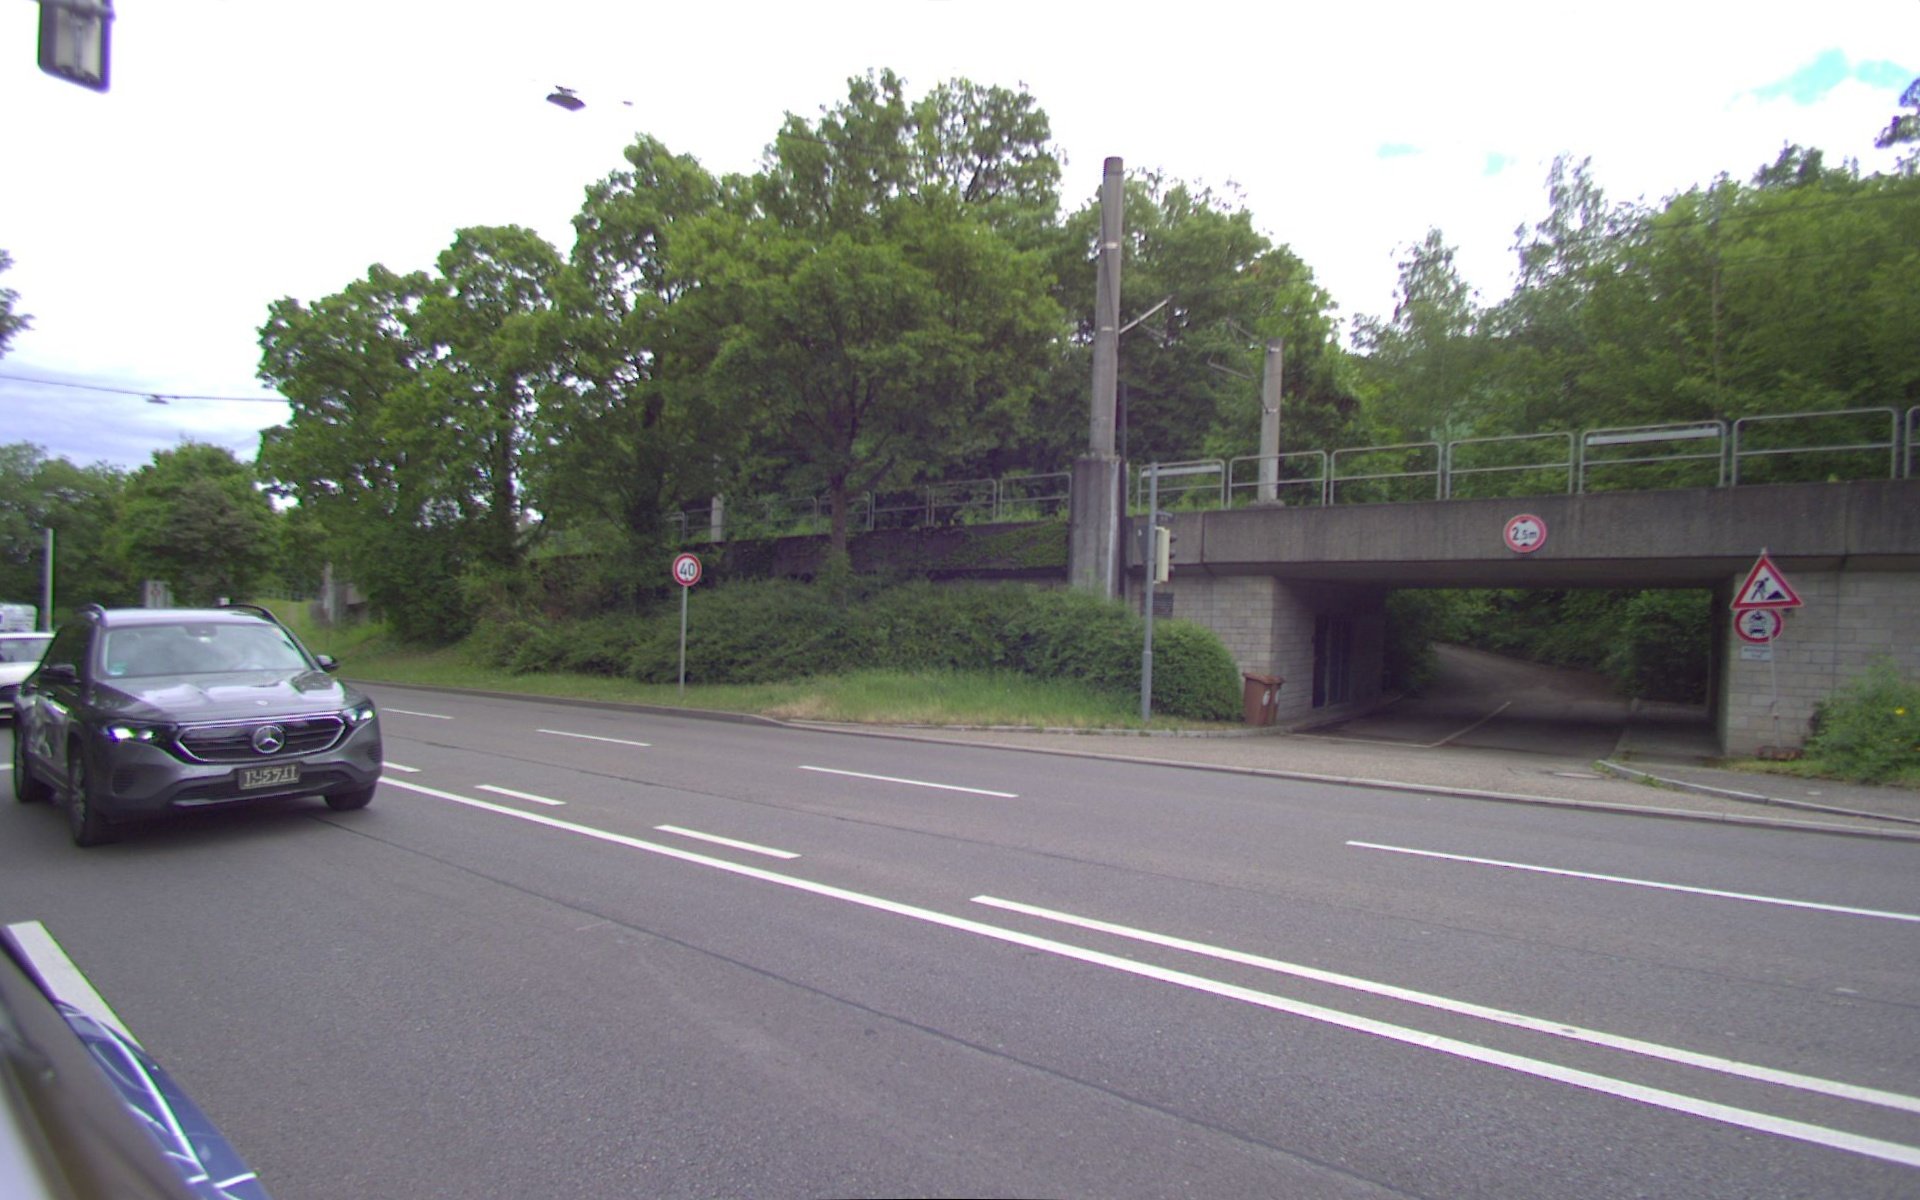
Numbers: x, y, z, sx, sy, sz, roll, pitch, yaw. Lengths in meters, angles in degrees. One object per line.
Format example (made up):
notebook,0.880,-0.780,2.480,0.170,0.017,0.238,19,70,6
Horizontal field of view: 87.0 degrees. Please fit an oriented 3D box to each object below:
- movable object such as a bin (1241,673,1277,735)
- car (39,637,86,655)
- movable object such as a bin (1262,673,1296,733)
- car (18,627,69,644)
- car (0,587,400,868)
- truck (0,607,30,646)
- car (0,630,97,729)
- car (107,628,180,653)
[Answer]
movable object such as a bin,5.407,1.865,18.299,0.503,1.071,0.414,-1,-3,36
car,-77.320,3.966,87.251,1.736,1.452,3.904,2,-4,-21
movable object such as a bin,5.925,1.905,18.798,0.503,1.071,0.414,-1,-3,36
car,-82.984,3.236,91.703,1.727,1.372,4.021,4,-4,-15
car,-6.316,0.809,8.148,4.356,1.664,1.830,-2,-2,42
truck,-79.284,2.141,82.554,2.164,3.180,6.670,2,-3,-17
car,-15.344,1.216,16.310,3.731,1.435,1.666,-2,-2,41
car,-76.203,3.718,94.573,2.251,2.217,6.468,0,-1,-7
